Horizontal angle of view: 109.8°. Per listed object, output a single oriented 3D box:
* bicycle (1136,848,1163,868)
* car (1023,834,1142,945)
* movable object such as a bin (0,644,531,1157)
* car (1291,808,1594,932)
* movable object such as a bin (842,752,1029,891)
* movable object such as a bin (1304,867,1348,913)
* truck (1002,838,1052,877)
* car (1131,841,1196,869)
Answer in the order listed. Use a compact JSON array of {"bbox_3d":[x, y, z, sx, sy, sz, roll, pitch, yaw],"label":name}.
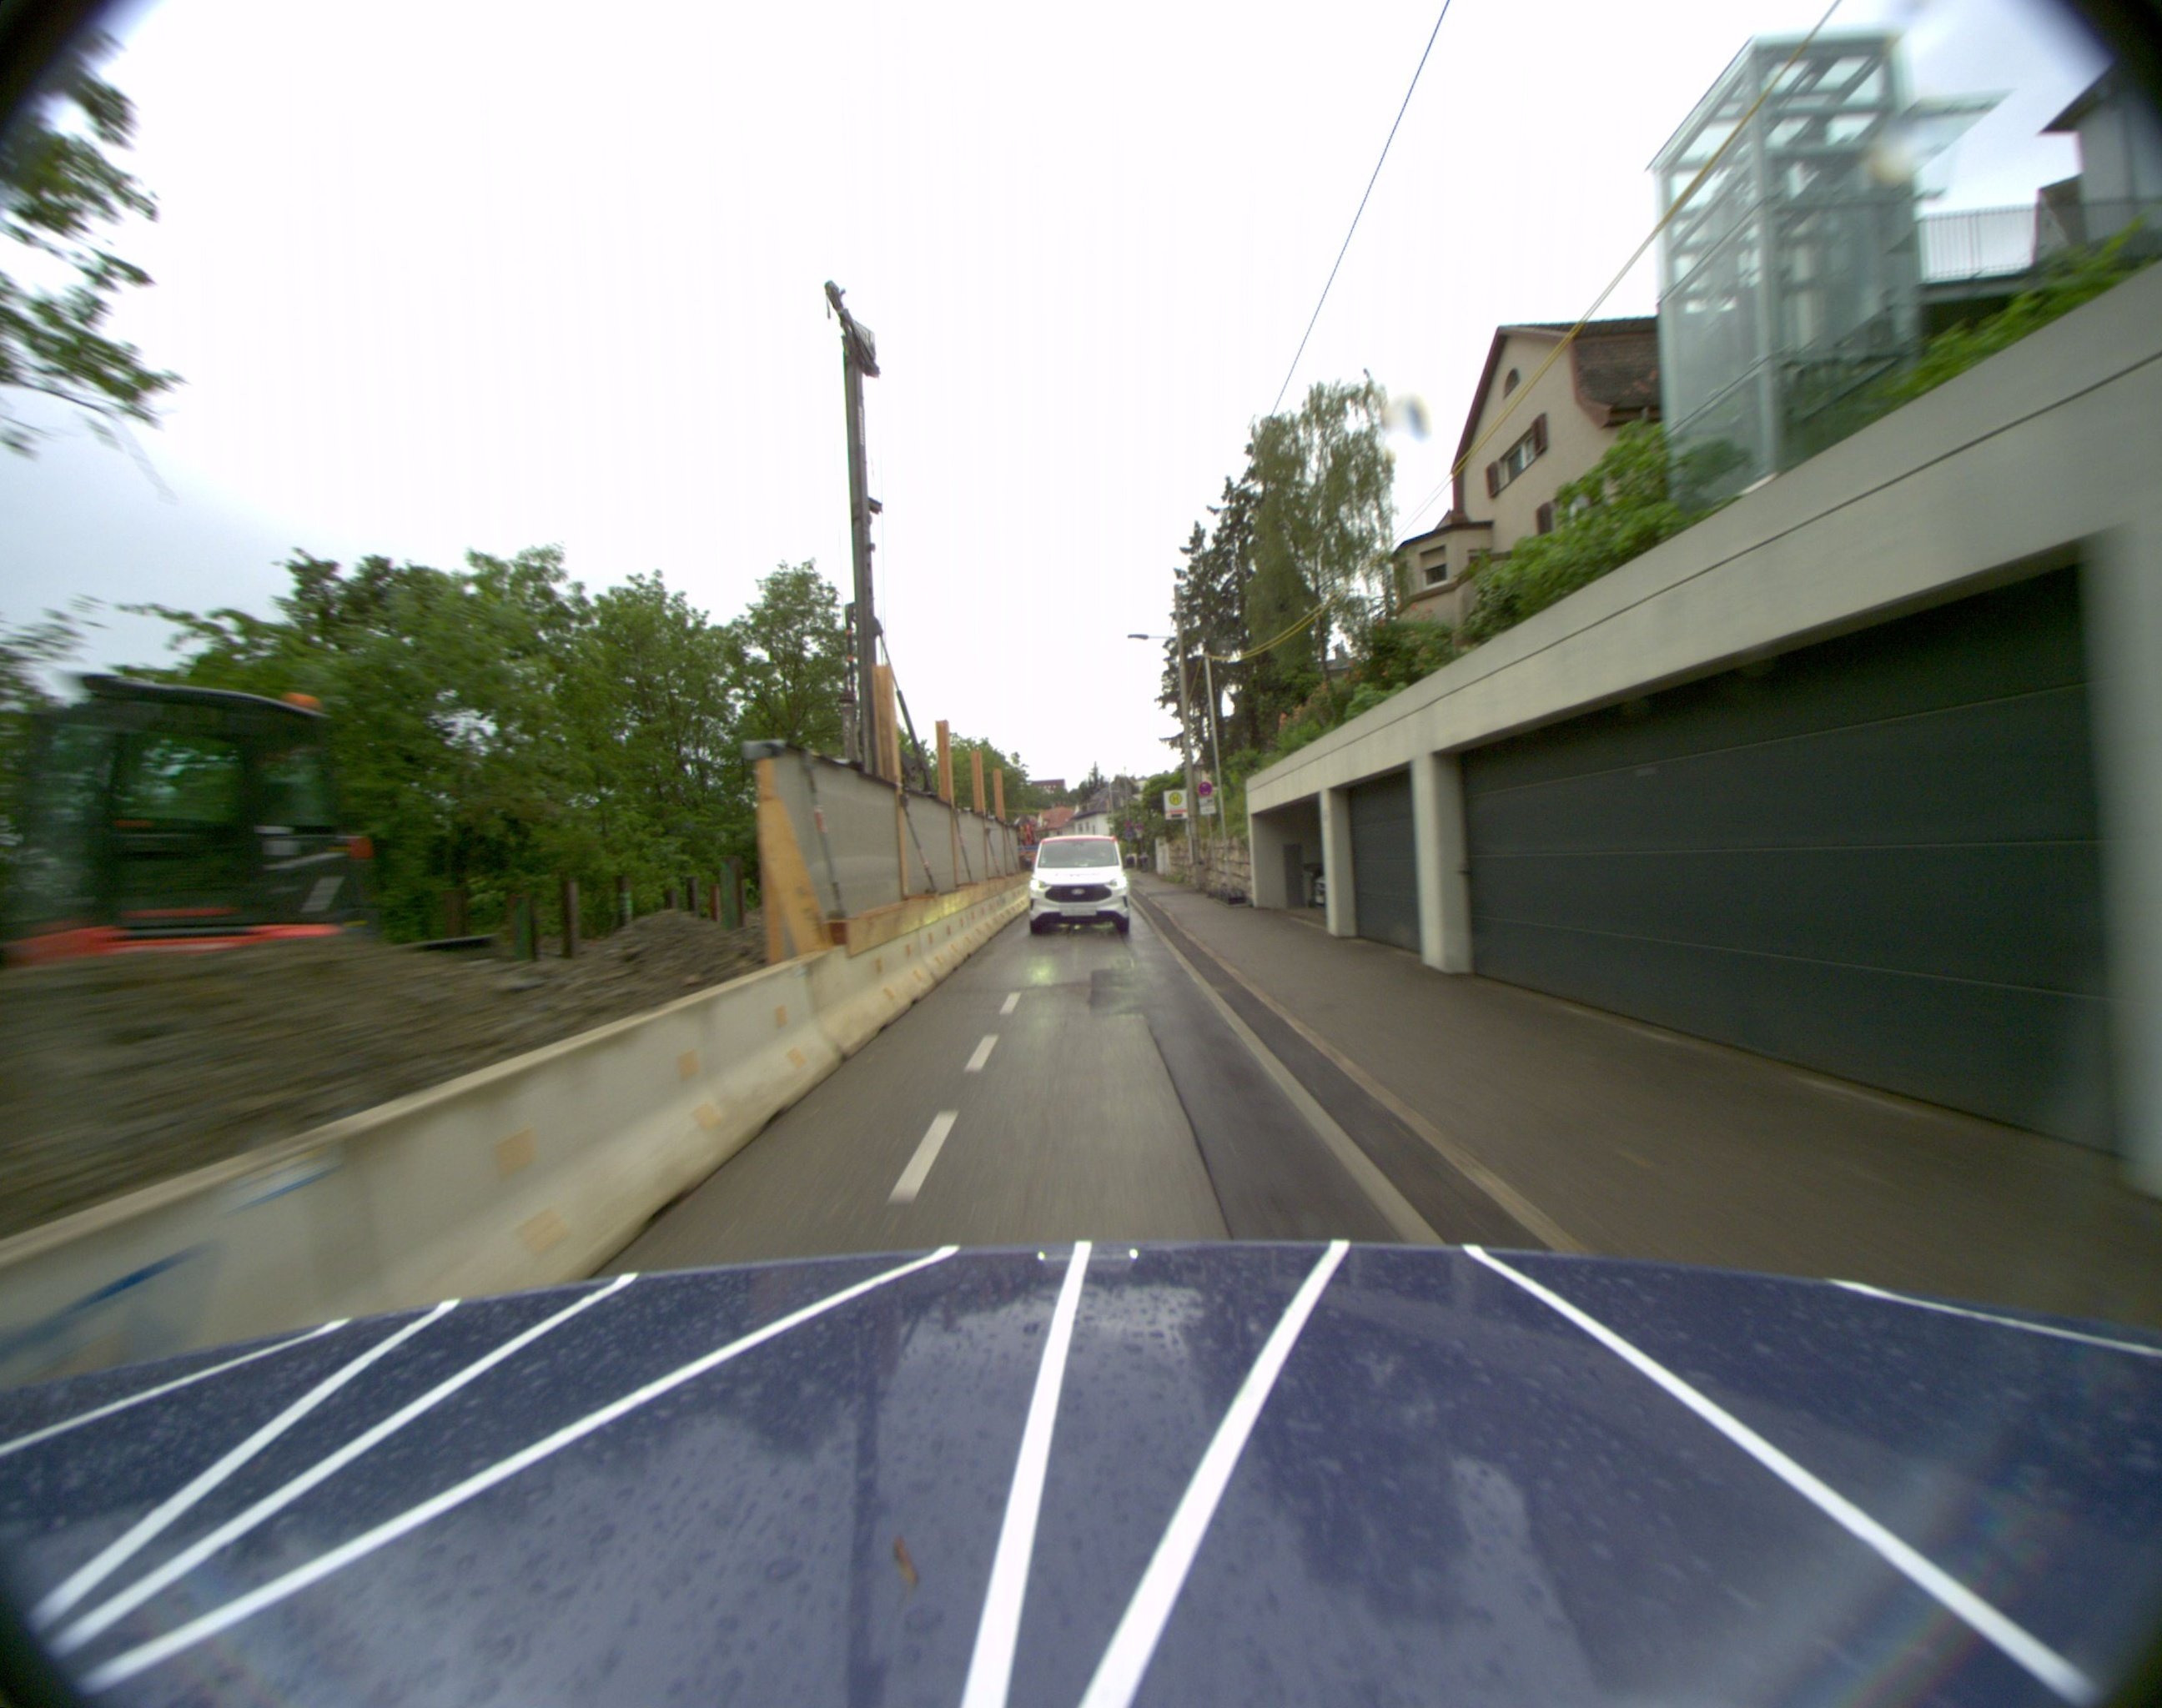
[{"bbox_3d":[4.356,0.240,48.260,1.621,1.124,0.443,-5,2,14],"label":"bicycle"},{"bbox_3d":[-0.031,0.613,16.738,2.046,1.883,5.207,-5,1,-1],"label":"car"},{"bbox_3d":[-6.316,0.292,5.460,2.101,2.586,3.176,-5,1,2],"label":"movable object such as a bin"},{"bbox_3d":[6.377,0.250,13.829,4.412,1.696,2.110,-5,1,1],"label":"car"},{"bbox_3d":[-5.843,-1.287,31.910,3.685,5.037,7.174,-2,2,29],"label":"movable object such as a bin"},{"bbox_3d":[5.348,0.783,16.597,0.685,0.898,0.657,-5,2,1],"label":"movable object such as a bin"},{"bbox_3d":[-3.134,0.186,44.961,2.557,2.096,3.303,-3,1,1],"label":"truck"},{"bbox_3d":[5.373,0.060,49.999,1.789,1.517,3.990,-6,1,-42],"label":"car"}]
